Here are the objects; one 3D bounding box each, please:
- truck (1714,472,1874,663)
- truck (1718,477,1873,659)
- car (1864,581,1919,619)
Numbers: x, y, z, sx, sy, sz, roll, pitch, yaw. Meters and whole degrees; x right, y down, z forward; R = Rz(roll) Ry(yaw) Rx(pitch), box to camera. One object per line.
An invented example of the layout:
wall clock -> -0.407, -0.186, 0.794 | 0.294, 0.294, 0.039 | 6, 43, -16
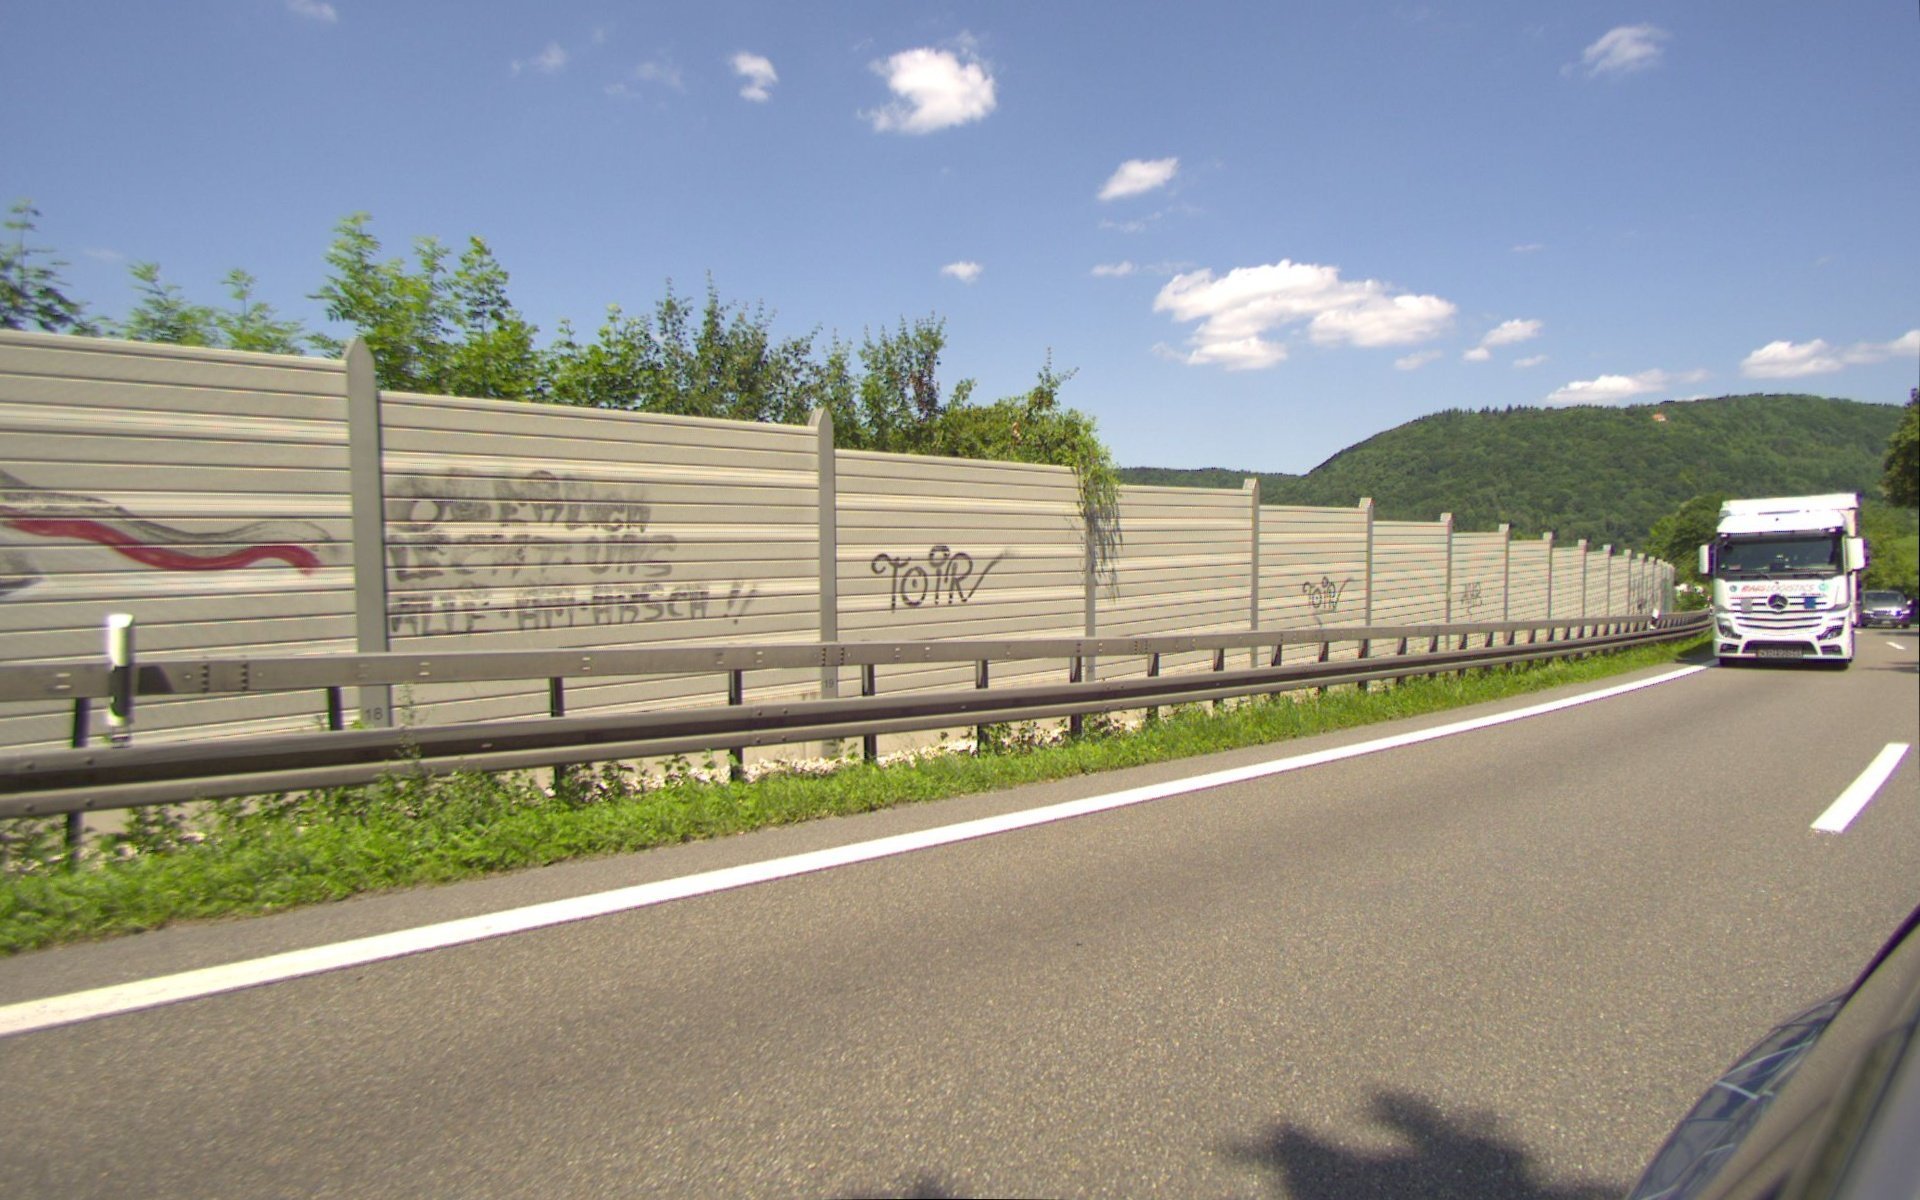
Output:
truck -> 20.699, -0.723, 25.163 | 2.754, 4.090, 6.724 | 0, 0, 40
truck -> 23.885, -0.781, 28.904 | 2.851, 4.200, 11.871 | 0, 0, 40
car -> 47.810, 0.002, 51.762 | 2.034, 1.889, 3.946 | 1, 0, 37
